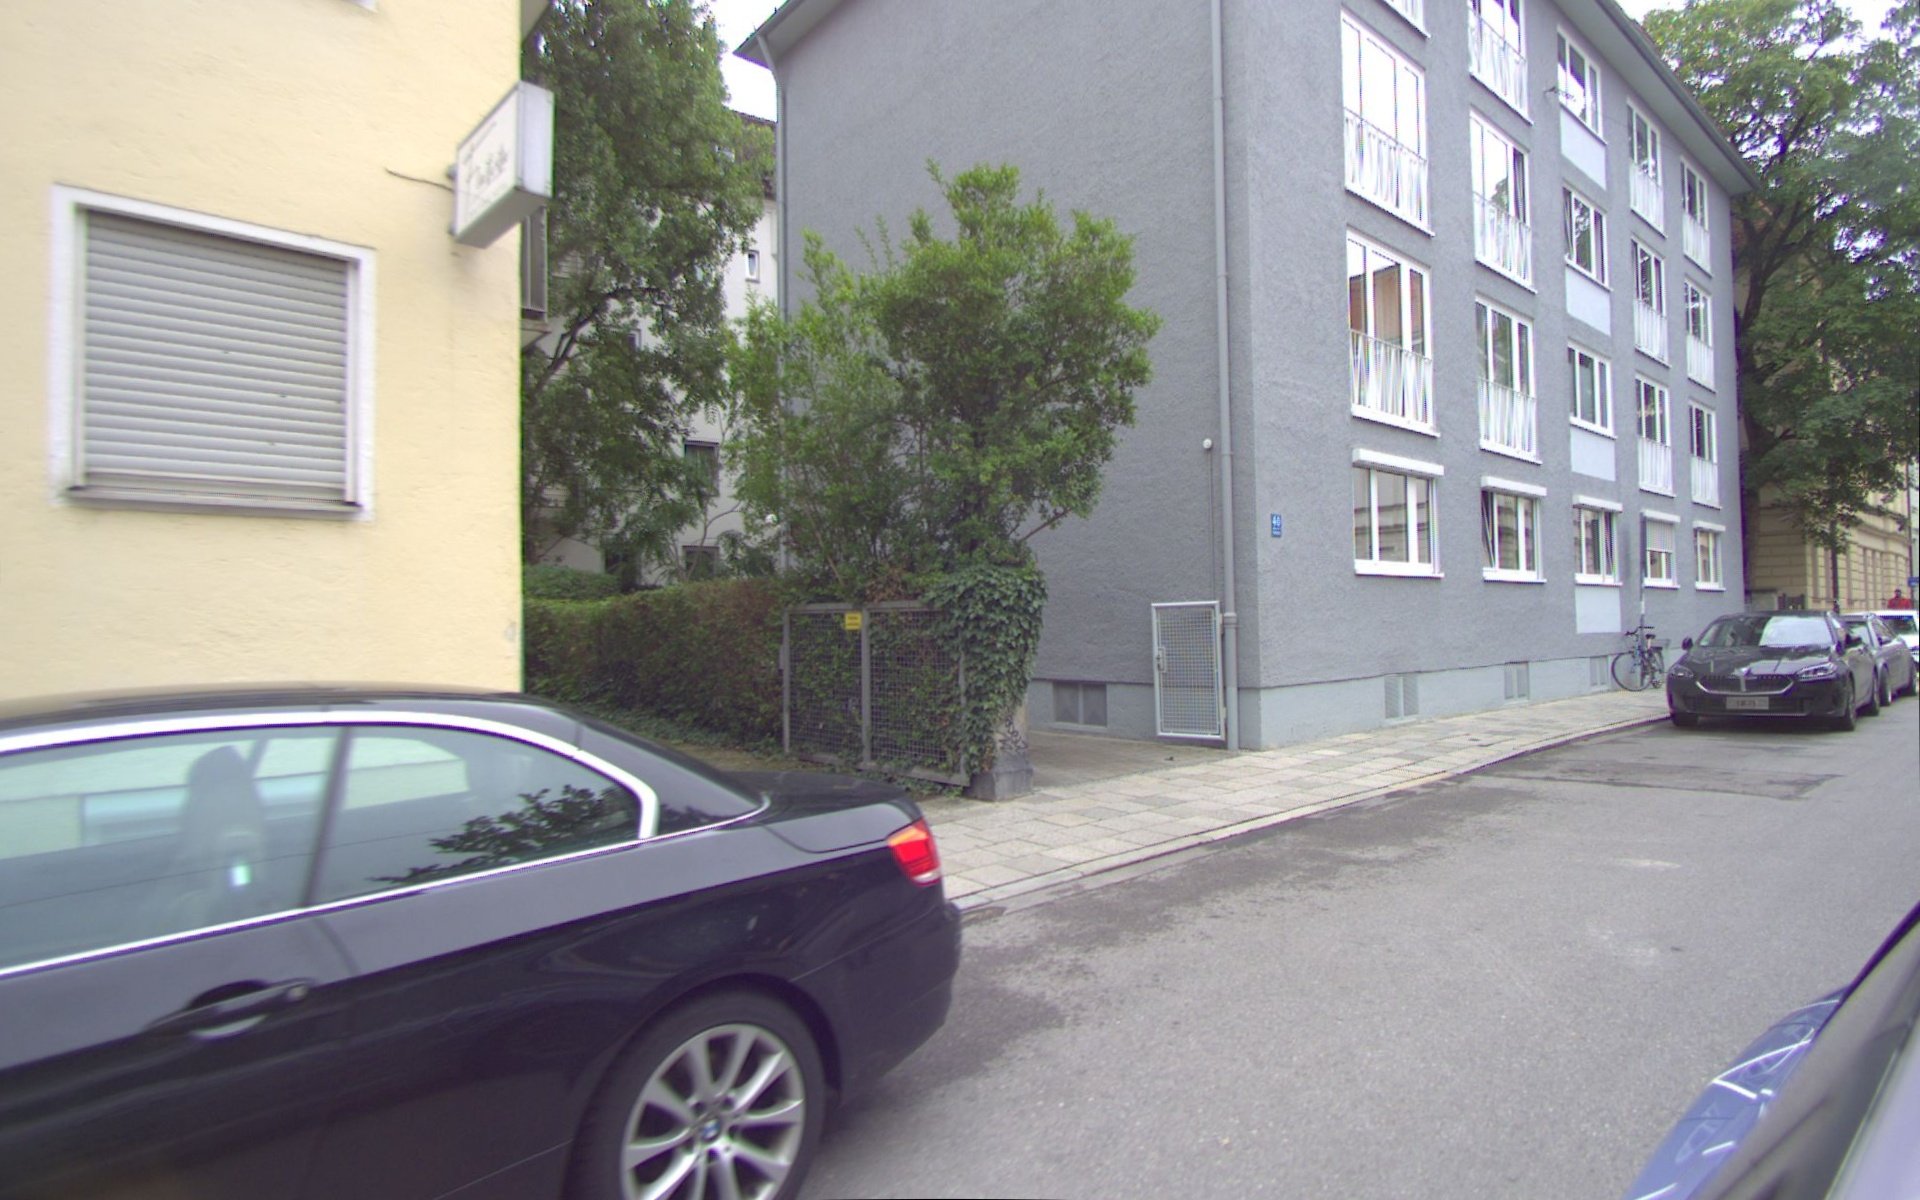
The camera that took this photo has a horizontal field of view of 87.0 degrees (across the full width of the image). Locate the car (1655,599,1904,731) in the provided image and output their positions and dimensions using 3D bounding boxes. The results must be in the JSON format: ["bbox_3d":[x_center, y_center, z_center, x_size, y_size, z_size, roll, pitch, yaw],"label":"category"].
[{"bbox_3d":[10.818,0.793,13.255,4.191,1.447,1.842,0,-5,-43],"label":"car"}]

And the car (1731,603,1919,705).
[{"bbox_3d":[14.325,0.829,16.455,4.405,1.420,1.792,0,-5,-40],"label":"car"}]

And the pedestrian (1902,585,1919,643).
[{"bbox_3d":[33.513,0.488,35.478,0.448,2.003,0.580,0,-2,-41],"label":"pedestrian"}]

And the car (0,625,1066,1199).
[{"bbox_3d":[-1.978,0.831,2.245,4.430,1.352,1.827,0,-5,-41],"label":"car"}]

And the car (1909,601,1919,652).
[{"bbox_3d":[28.918,0.687,29.174,4.433,1.392,1.856,0,-3,-42],"label":"car"}]

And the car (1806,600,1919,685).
[{"bbox_3d":[18.134,0.774,19.652,4.267,1.465,1.771,0,-5,-40],"label":"car"}]

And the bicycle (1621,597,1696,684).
[{"bbox_3d":[12.794,0.710,18.508,2.239,1.505,0.515,0,-2,-40],"label":"bicycle"}]
